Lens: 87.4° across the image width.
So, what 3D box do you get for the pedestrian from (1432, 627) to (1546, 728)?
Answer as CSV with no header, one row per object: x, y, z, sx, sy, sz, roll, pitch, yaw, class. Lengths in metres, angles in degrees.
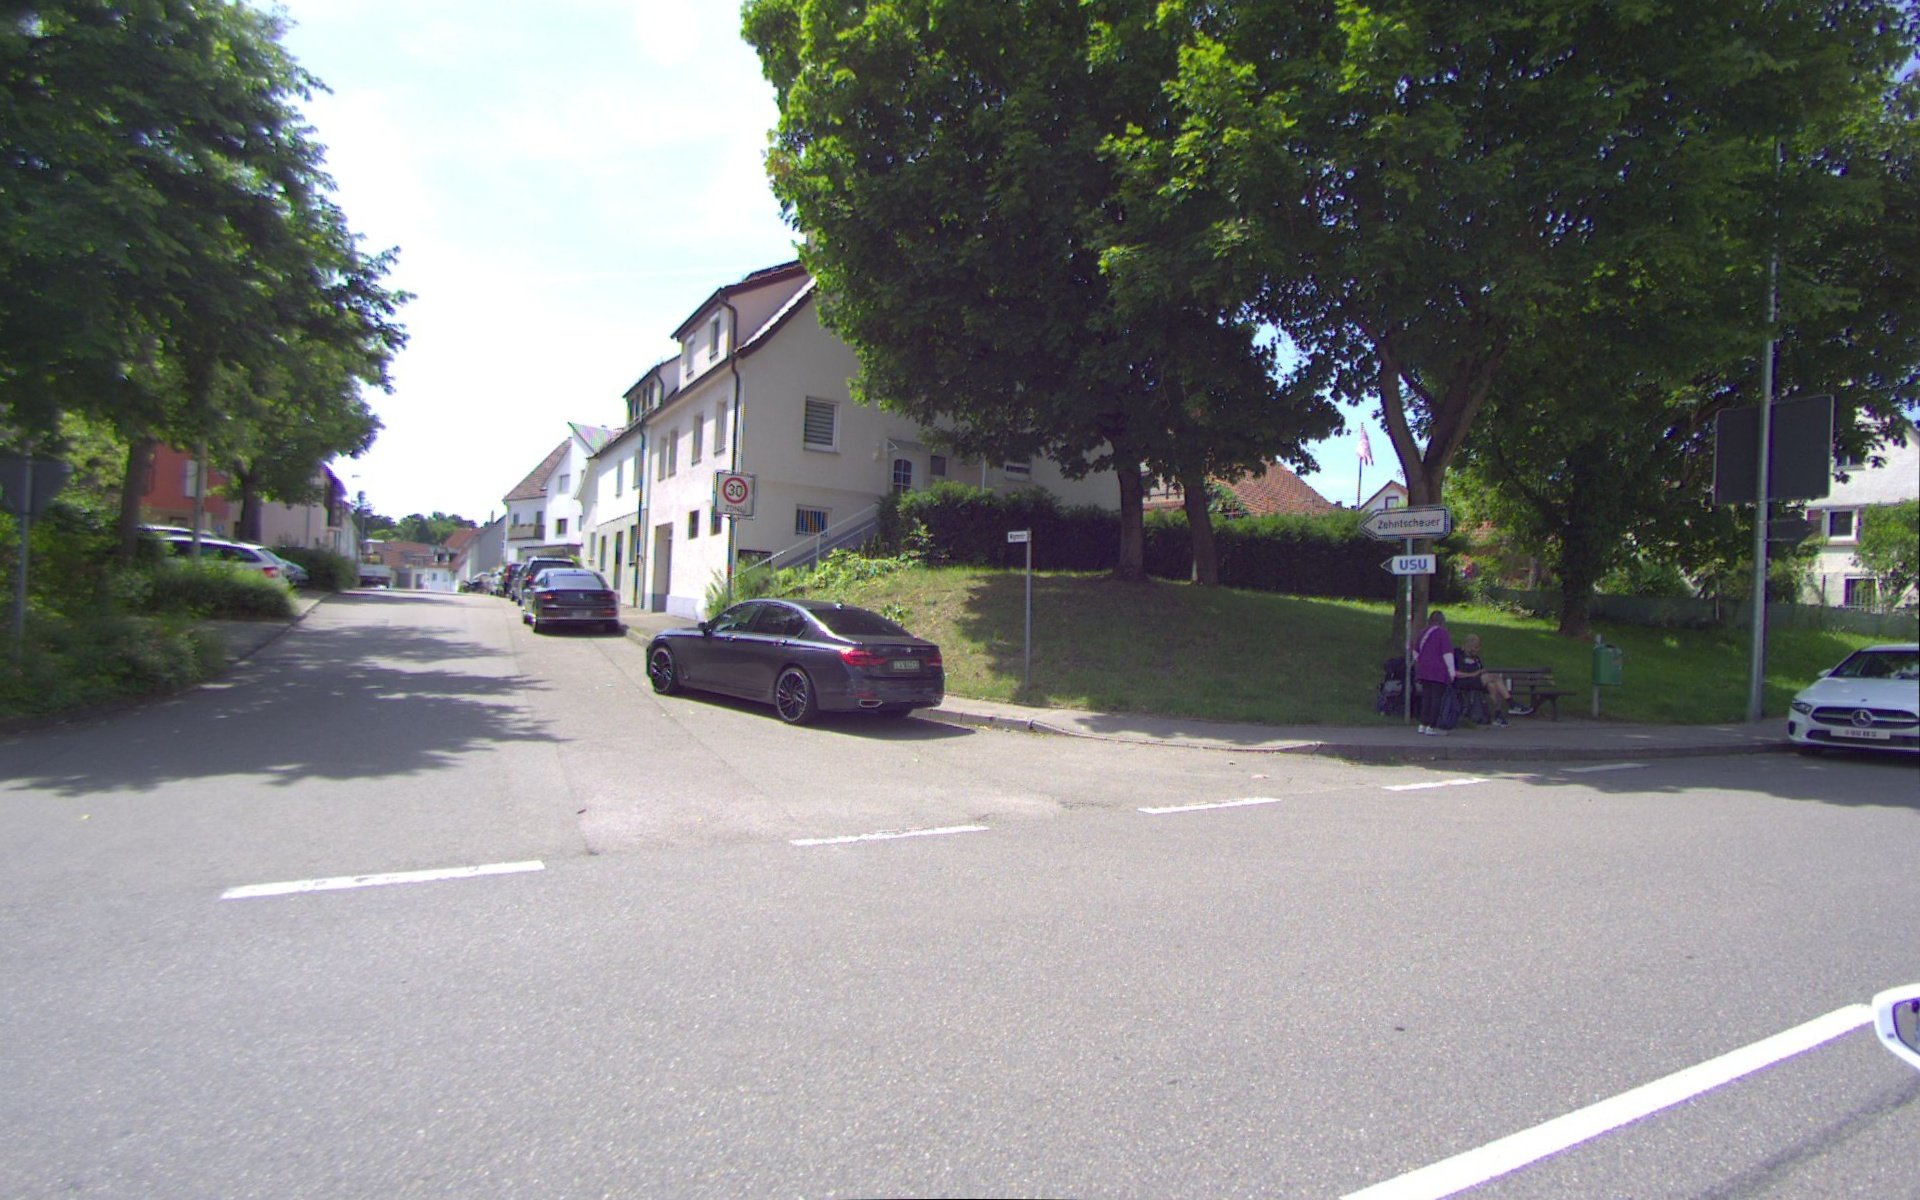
7.424,1.062,14.140,0.638,1.286,1.231,2,1,-27,pedestrian

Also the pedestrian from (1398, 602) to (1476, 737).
6.091,0.858,12.821,0.721,1.638,0.626,2,0,39,pedestrian

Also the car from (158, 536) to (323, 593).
-22.014,-1.063,30.925,3.954,1.600,1.799,1,1,-31,car

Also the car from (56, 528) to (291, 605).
-18.301,-0.736,23.659,4.099,1.588,1.983,1,0,-31,car

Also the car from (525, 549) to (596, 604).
-13.195,-0.806,33.034,1.752,1.669,3.970,1,3,-28,car

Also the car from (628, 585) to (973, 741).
-2.298,0.710,13.598,4.719,1.499,1.990,5,2,41,car

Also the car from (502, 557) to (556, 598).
-19.651,-1.044,45.716,1.975,1.588,3.971,2,3,-27,car

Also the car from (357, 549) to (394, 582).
-38.135,-2.237,65.537,1.978,1.971,4.322,3,0,-31,car

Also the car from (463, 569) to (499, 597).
-31.025,-1.116,64.953,1.975,1.588,3.971,2,3,-27,car

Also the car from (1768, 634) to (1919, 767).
12.315,1.188,12.865,4.314,1.486,1.745,1,-2,-32,car

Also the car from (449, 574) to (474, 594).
-45.849,-1.449,92.334,1.975,1.588,3.971,2,3,-27,car

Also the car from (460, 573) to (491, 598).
-35.749,-1.100,74.105,1.975,1.588,3.971,2,3,-27,car

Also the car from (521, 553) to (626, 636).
-9.147,-0.188,23.585,1.884,1.707,3.971,1,3,-27,car
